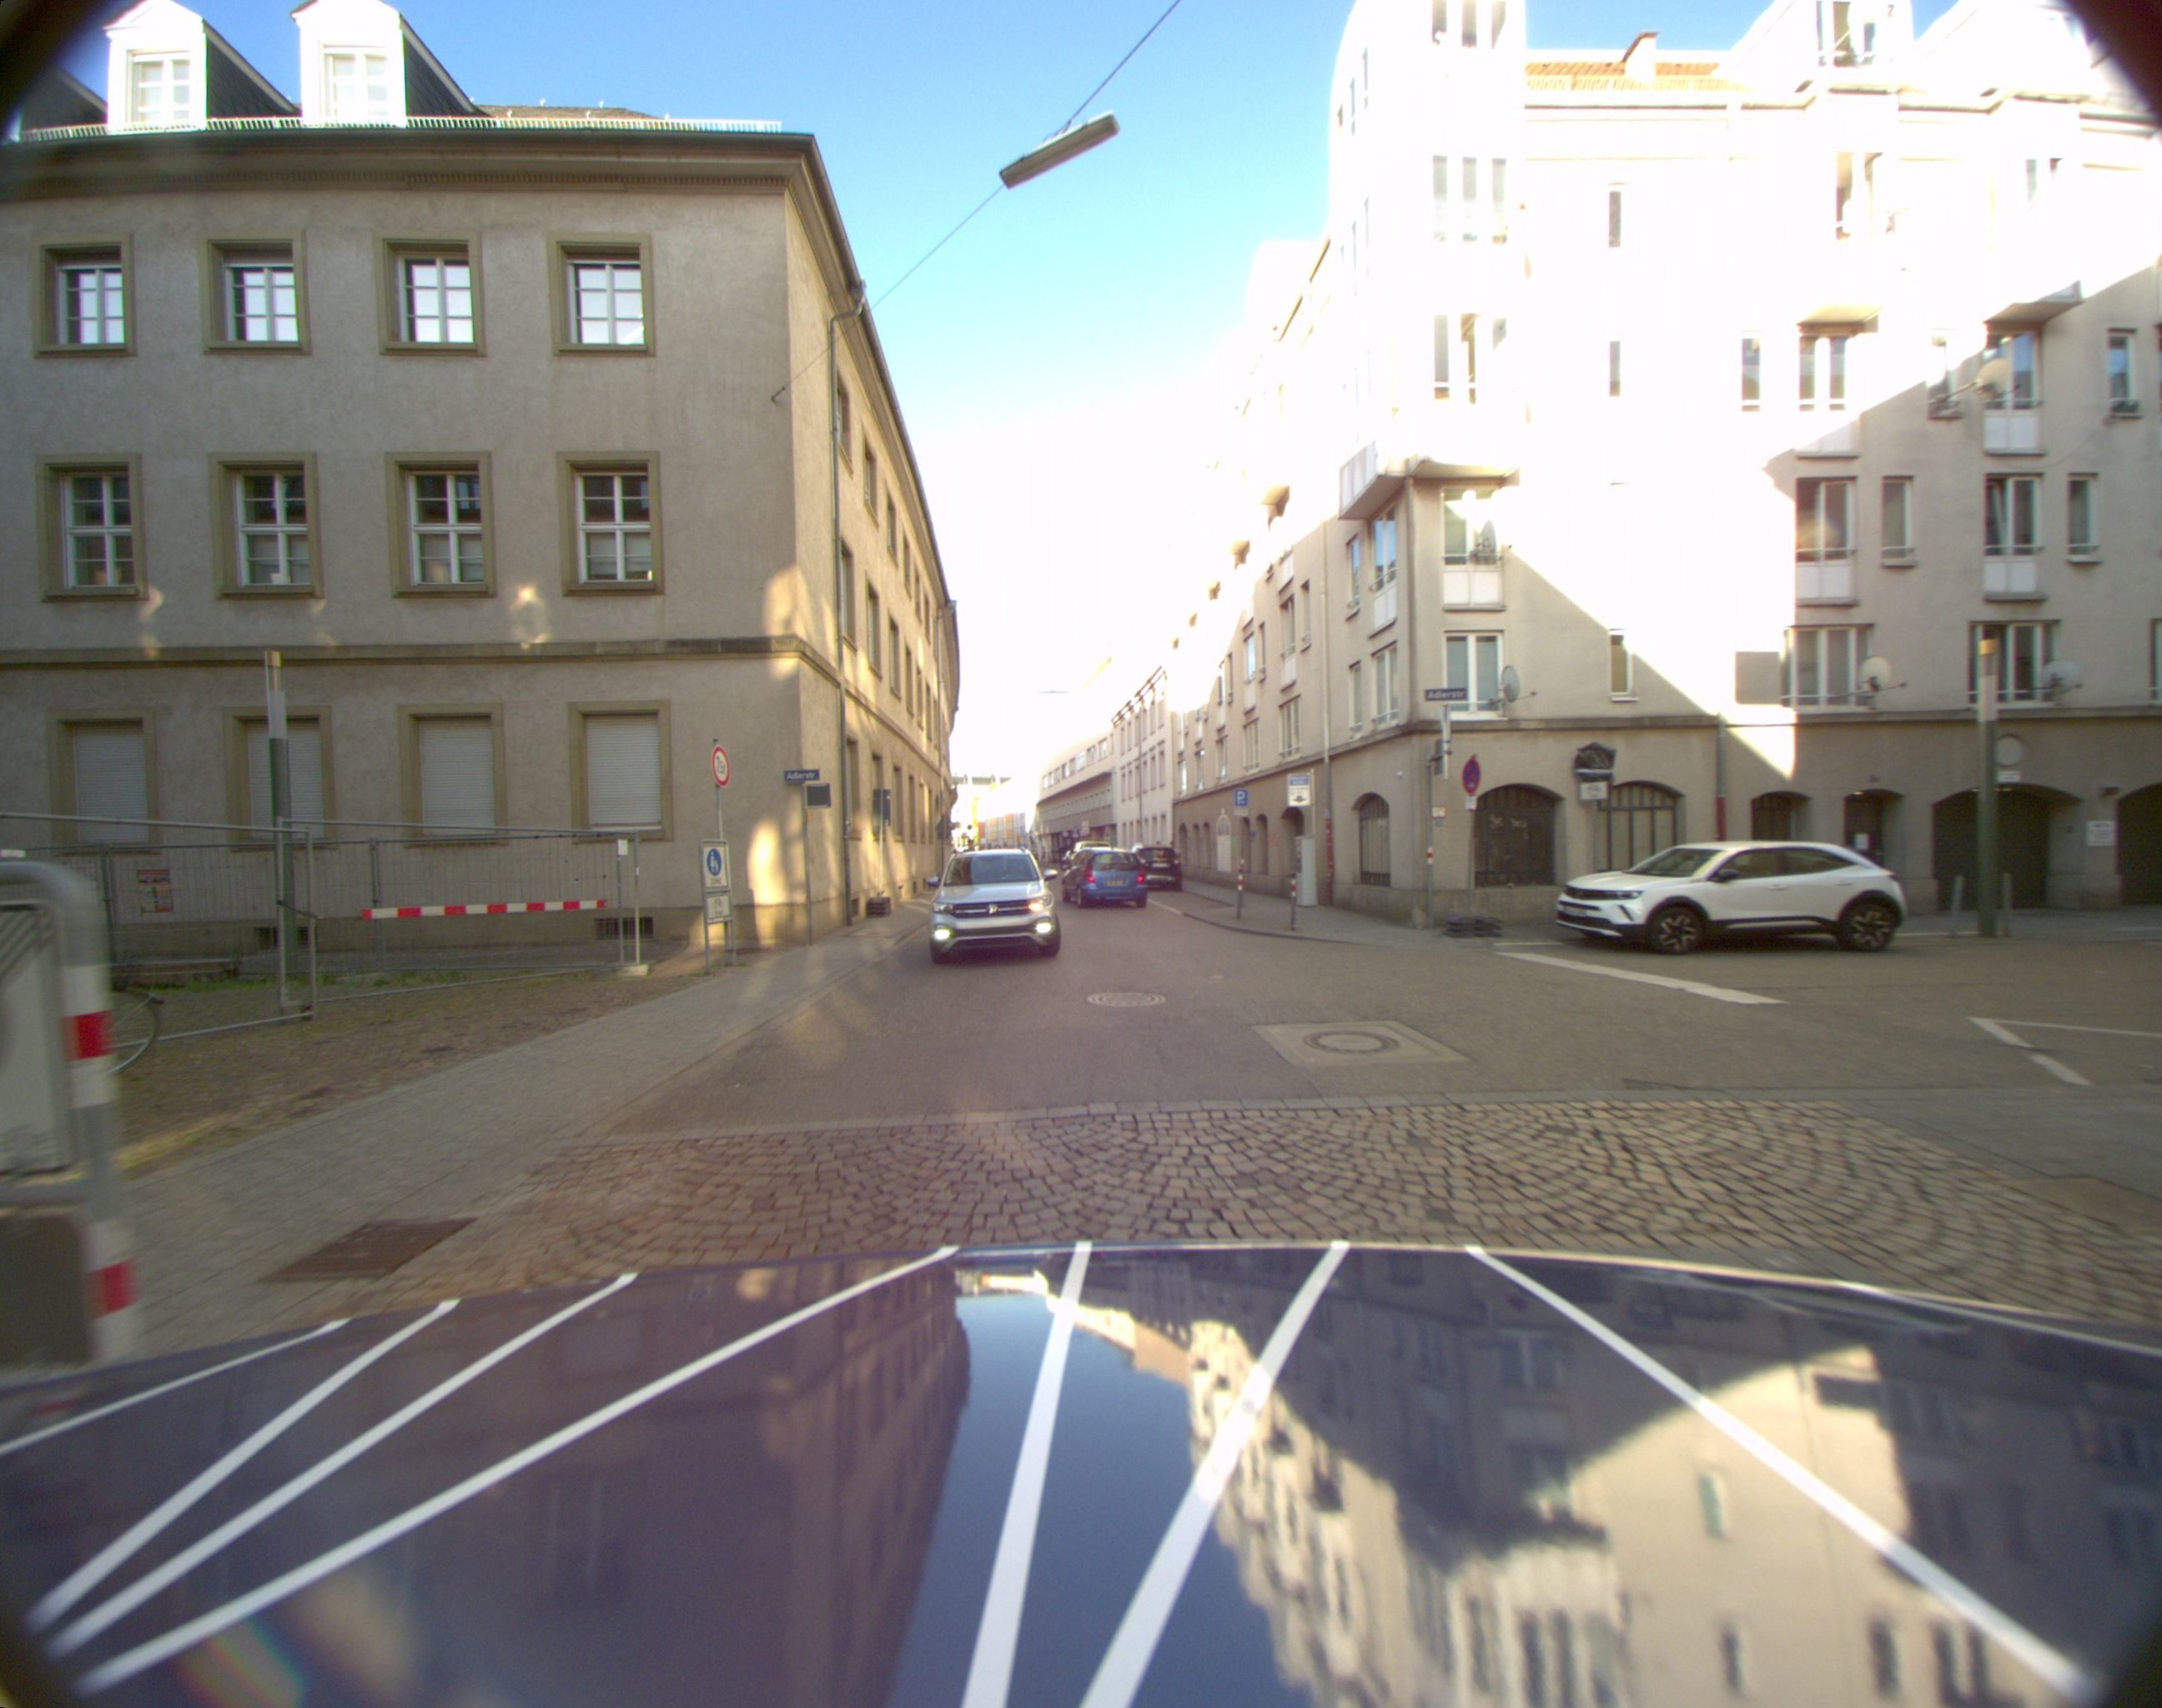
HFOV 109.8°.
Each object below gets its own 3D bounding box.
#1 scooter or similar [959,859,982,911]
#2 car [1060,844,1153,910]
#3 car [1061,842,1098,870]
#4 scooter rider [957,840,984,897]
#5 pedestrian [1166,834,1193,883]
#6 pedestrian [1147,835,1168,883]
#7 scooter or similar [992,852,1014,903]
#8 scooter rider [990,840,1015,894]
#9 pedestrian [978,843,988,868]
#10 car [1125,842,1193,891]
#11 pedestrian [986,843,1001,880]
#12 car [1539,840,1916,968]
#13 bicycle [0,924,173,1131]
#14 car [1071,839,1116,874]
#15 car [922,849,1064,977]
[{"bbox_3d":[-3.186,0.872,21.990,0.524,1.388,1.554,-2,1,-5],"label":"scooter or similar"},{"bbox_3d":[0.588,0.595,20.788,1.857,1.583,3.804,-2,-1,-8],"label":"car"},{"bbox_3d":[-0.121,0.117,49.971,1.889,1.758,3.996,0,1,-8],"label":"car"},{"bbox_3d":[-3.224,0.406,22.208,0.648,1.585,0.599,-5,2,-5],"label":"scooter rider"},{"bbox_3d":[4.164,0.176,32.280,0.937,2.002,0.698,-2,1,-6],"label":"pedestrian"},{"bbox_3d":[3.247,0.217,32.301,0.716,2.002,0.698,-2,1,-6],"label":"pedestrian"},{"bbox_3d":[-2.251,0.659,22.020,0.550,1.388,1.554,-2,1,-5],"label":"scooter or similar"},{"bbox_3d":[-2.273,0.371,22.093,0.592,1.500,0.599,-5,2,-5],"label":"scooter rider"},{"bbox_3d":[-7.788,0.101,60.453,0.716,2.002,0.698,-2,1,-6],"label":"pedestrian"},{"bbox_3d":[2.810,0.402,28.262,1.889,1.694,3.998,0,1,-3],"label":"car"},{"bbox_3d":[-4.875,0.407,42.454,0.716,2.002,0.698,-2,1,-6],"label":"pedestrian"},{"bbox_3d":[9.216,0.672,11.104,3.965,1.584,1.743,-2,2,2],"label":"car"},{"bbox_3d":[-7.124,1.161,4.893,0.319,1.243,1.584,-2,1,16],"label":"bicycle"},{"bbox_3d":[0.676,0.106,44.614,1.889,1.863,3.996,-4,1,-8],"label":"car"},{"bbox_3d":[-1.367,0.745,11.795,1.764,1.537,3.997,-3,1,-7],"label":"car"}]
